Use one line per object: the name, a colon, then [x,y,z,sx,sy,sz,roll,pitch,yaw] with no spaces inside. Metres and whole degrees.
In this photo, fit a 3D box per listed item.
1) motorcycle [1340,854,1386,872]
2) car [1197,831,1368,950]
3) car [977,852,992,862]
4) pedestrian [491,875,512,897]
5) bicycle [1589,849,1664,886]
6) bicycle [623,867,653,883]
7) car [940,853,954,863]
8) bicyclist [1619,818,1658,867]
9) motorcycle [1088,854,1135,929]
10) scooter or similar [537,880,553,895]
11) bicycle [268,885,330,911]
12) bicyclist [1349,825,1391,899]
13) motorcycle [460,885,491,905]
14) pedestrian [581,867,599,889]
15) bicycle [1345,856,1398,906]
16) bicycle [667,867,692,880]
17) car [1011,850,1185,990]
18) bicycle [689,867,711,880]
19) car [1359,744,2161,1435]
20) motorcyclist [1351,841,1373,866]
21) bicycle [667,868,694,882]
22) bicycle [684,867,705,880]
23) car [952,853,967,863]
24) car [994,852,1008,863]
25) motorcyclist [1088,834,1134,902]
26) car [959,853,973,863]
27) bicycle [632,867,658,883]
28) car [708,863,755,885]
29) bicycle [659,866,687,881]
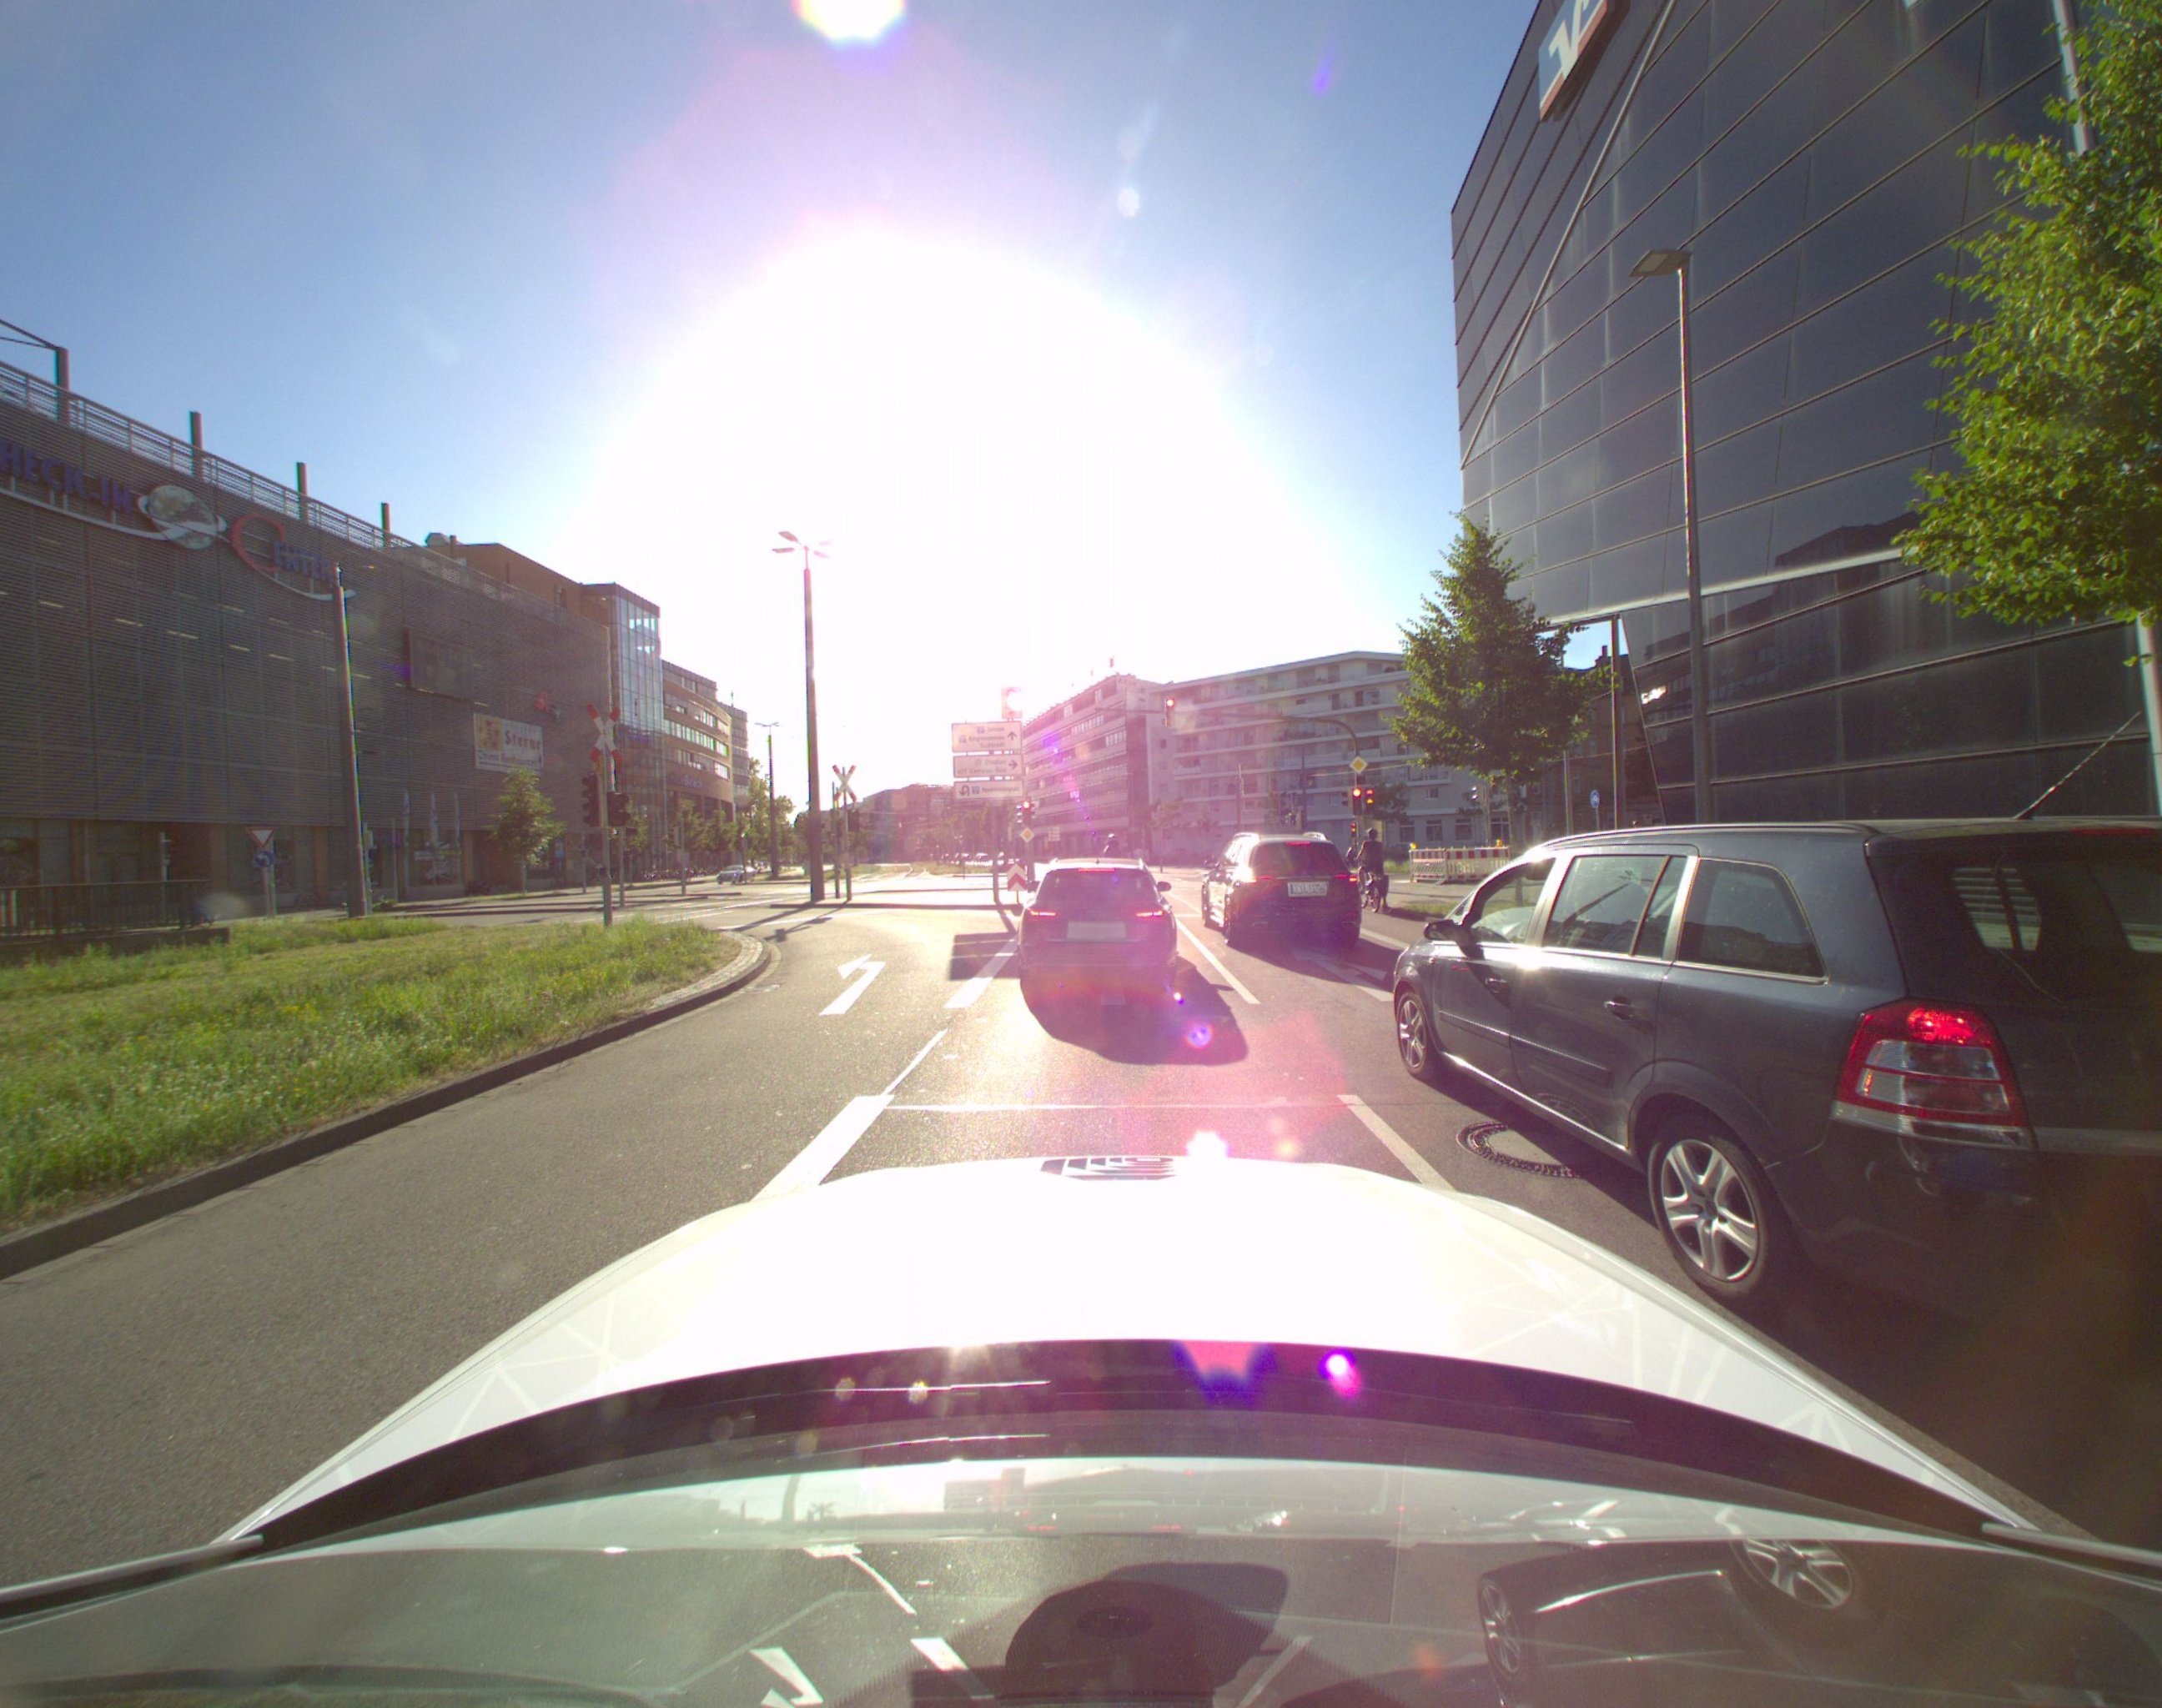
motorcycle: [17.448,0.565,50.390,2.444,1.000,1.172,-2,0,0]
car: [3.255,0.507,14.059,1.995,1.715,4.374,0,1,2]
car: [-16.804,0.597,141.322,1.997,1.596,3.979,-3,-1,-15]
pedestrian: [-43.948,2.441,61.773,0.984,1.565,0.829,-3,-1,1]
bicycle: [19.462,0.494,29.082,0.772,1.262,2.058,-2,0,-38]
bicycle: [-43.508,2.066,79.984,2.355,1.433,1.079,-3,-1,10]
car: [-24.609,0.786,149.416,1.998,1.706,3.977,-3,-1,-16]
bicyclist: [19.691,-0.409,28.768,0.772,1.706,0.919,-2,0,-38]
motorcycle: [0.614,0.714,16.403,0.859,1.393,1.894,-2,0,2]
scooter or similar: [-42.621,2.676,64.794,0.419,1.110,1.153,-3,-1,3]
bicycle: [-41.574,2.327,43.331,0.796,1.220,2.418,-2,0,5]
bicyclist: [6.629,0.168,18.704,0.651,1.642,0.973,-2,0,5]
motorcycle: [-41.482,2.817,55.812,0.673,1.238,1.894,-3,-1,1]
pedestrian: [-42.311,2.073,70.184,0.823,1.824,0.905,-3,-1,3]
bicycle: [6.651,0.590,18.726,0.651,1.043,1.932,-2,1,5]
bicycle: [-46.751,2.273,94.729,2.591,1.433,0.773,-3,-1,10]
car: [0.232,0.690,10.645,1.835,1.454,4.002,0,1,1]
bicycle: [-46.854,2.402,100.225,2.405,1.433,0.791,-3,-1,10]
car: [2.950,0.568,4.128,1.739,1.696,4.263,-1,0,2]
motorcyclist: [17.378,-0.037,50.388,0.921,1.481,1.172,-2,0,1]
bicycle: [-43.399,2.290,88.202,2.546,1.433,0.907,-3,-1,10]
bicycle: [-47.022,2.387,99.054,2.125,1.433,0.761,-3,-1,10]
car: [-22.414,0.756,150.163,1.998,1.706,3.977,-3,-1,-16]
car: [-15.071,0.660,153.643,1.996,1.838,3.981,-3,-1,-13]
motorcyclist: [0.611,0.282,16.481,0.859,1.326,0.681,-2,0,1]
car: [-20.260,0.668,143.768,1.996,1.596,3.981,-3,-1,-13]
bicycle: [-43.327,2.087,80.944,2.070,1.433,0.863,-3,-1,10]
car: [-27.584,1.551,64.460,1.990,1.545,4.524,-2,0,-4]
bicycle: [-43.080,2.019,85.944,2.546,1.433,0.907,-3,-1,10]
